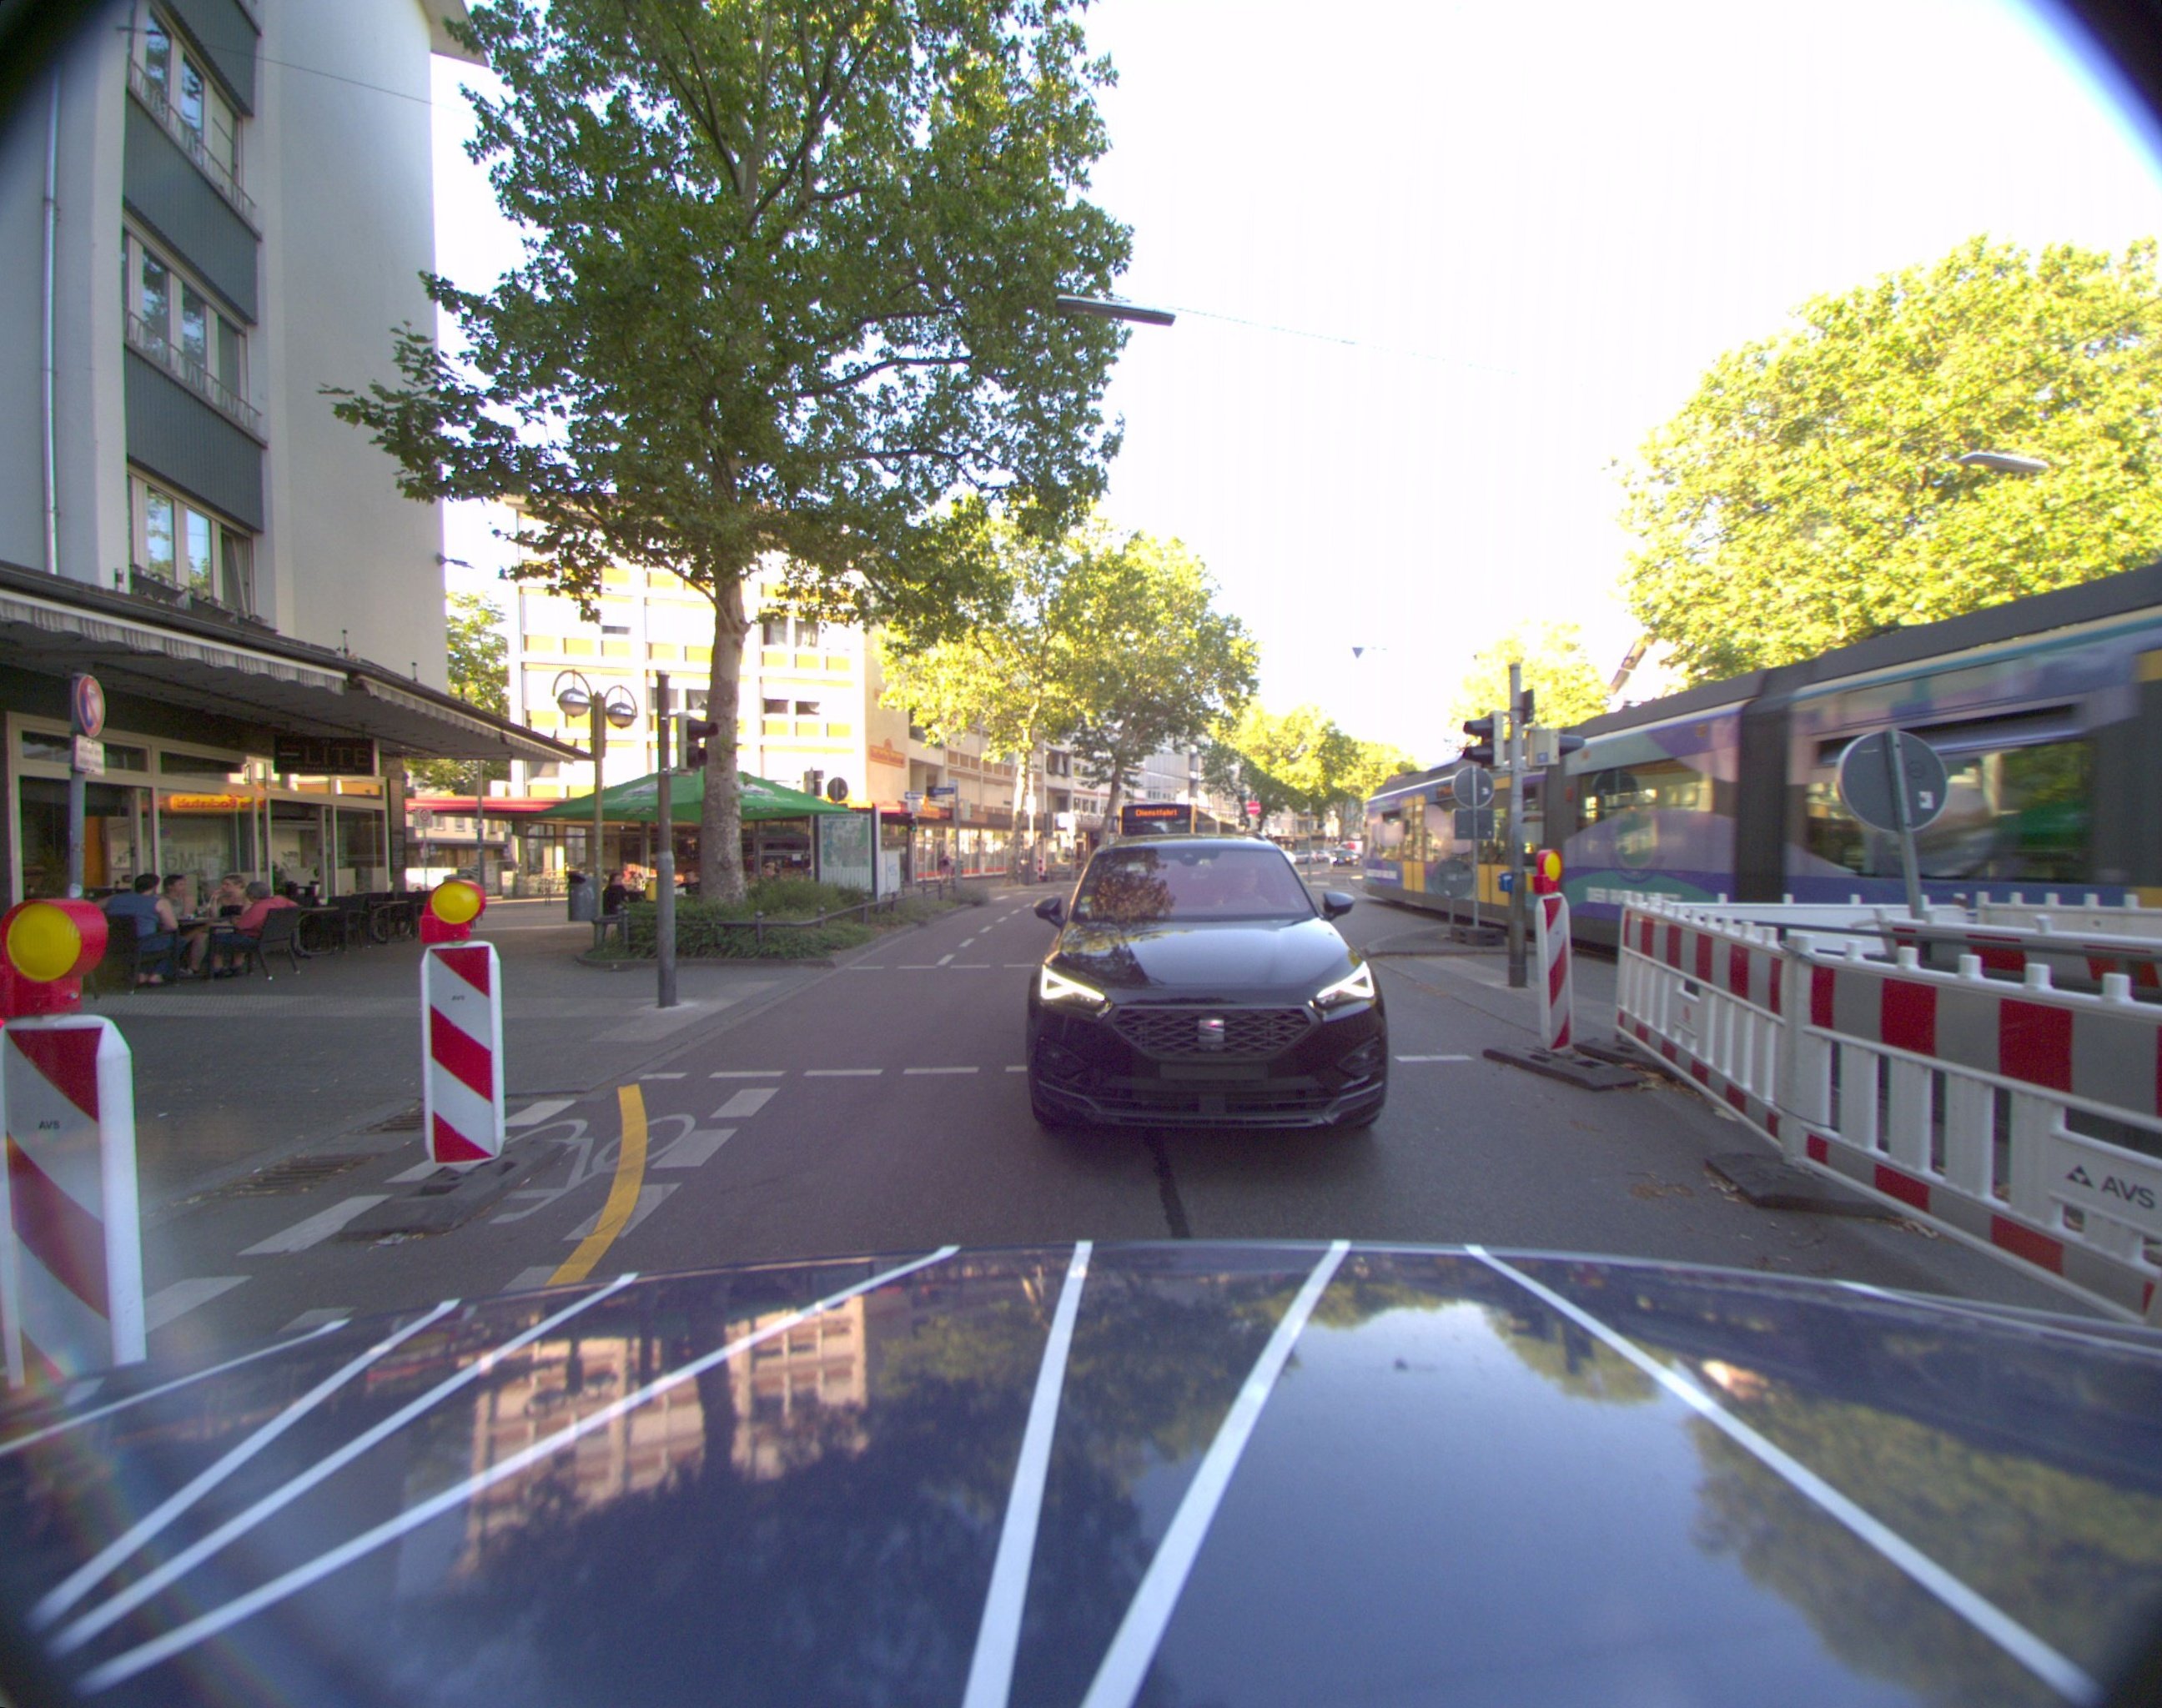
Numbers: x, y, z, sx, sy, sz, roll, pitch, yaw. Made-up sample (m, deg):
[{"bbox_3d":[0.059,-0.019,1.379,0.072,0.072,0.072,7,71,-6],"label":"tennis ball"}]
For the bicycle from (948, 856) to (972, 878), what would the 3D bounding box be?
[{"bbox_3d":[-6.675,0.699,42.046,0.528,1.136,1.976,-1,1,15],"label":"bicycle"}]

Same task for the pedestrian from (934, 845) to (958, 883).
[{"bbox_3d":[-6.289,0.451,35.500,0.748,1.747,0.903,0,1,17],"label":"pedestrian"}]

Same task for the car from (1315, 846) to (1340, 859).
[{"bbox_3d":[29.783,-0.161,91.868,2.627,1.464,1.201,-1,2,3],"label":"car"}]

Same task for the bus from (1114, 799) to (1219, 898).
[{"bbox_3d":[3.507,-0.224,28.568,2.750,3.085,9.506,0,1,14],"label":"bus"}]

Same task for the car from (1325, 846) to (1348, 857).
[{"bbox_3d":[32.893,-0.307,97.741,2.627,1.274,1.201,-1,2,3],"label":"car"}]

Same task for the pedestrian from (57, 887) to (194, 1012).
[{"bbox_3d":[-10.224,0.984,8.162,0.651,1.244,0.716,0,0,-24],"label":"pedestrian"}]

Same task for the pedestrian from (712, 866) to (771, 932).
[{"bbox_3d":[-6.813,0.889,15.274,0.718,1.278,0.769,-1,1,14],"label":"pedestrian"}]

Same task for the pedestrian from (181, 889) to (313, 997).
[{"bbox_3d":[-9.851,1.019,9.013,0.847,1.191,0.649,1,0,-22],"label":"pedestrian"}]

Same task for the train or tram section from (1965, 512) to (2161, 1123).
[{"bbox_3d":[7.771,-0.189,0.145,2.843,3.467,10.334,-1,1,-3],"label":"train or tram section"}]

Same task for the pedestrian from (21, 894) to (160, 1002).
[{"bbox_3d":[-11.090,1.026,8.537,0.718,1.123,0.649,1,0,-24],"label":"pedestrian"}]

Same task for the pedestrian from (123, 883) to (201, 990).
[{"bbox_3d":[-11.247,0.986,9.305,0.519,1.236,0.553,0,0,34],"label":"pedestrian"}]

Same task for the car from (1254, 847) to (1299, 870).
[{"bbox_3d":[14.668,0.332,56.732,1.952,1.541,4.765,0,2,31],"label":"car"}]

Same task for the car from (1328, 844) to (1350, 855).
[{"bbox_3d":[35.453,-0.608,104.237,2.627,1.380,1.201,-1,2,3],"label":"car"}]

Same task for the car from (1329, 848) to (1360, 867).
[{"bbox_3d":[22.793,0.275,65.662,1.952,1.467,4.764,0,2,26],"label":"car"}]

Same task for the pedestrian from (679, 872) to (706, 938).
[{"bbox_3d":[-7.416,0.961,14.497,0.433,1.212,0.467,1,1,-29],"label":"pedestrian"}]

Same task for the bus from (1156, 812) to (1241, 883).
[{"bbox_3d":[6.058,-0.336,37.743,2.749,3.085,9.508,0,1,17],"label":"bus"}]

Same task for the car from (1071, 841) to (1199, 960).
[{"bbox_3d":[0.965,0.643,12.800,1.743,1.630,4.300,-2,0,6],"label":"car"}]

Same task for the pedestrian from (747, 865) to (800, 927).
[{"bbox_3d":[-6.546,0.886,16.198,0.718,1.278,0.769,-1,1,13],"label":"pedestrian"}]

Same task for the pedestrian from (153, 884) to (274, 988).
[{"bbox_3d":[-10.697,0.986,9.393,0.666,1.211,0.717,0,0,-5],"label":"pedestrian"}]

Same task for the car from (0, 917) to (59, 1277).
[{"bbox_3d":[-5.153,0.992,1.439,1.623,1.457,3.604,2,0,-2],"label":"car"}]

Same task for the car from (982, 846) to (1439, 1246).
[{"bbox_3d":[0.680,0.803,5.325,1.848,1.648,4.300,-2,0,4],"label":"car"}]

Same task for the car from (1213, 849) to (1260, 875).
[{"bbox_3d":[9.640,0.455,46.743,1.908,1.467,4.424,0,1,24],"label":"car"}]

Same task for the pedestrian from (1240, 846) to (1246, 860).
[{"bbox_3d":[18.498,-0.140,86.746,0.516,1.647,0.571,0,1,28],"label":"pedestrian"}]

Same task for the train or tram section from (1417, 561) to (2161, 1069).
[{"bbox_3d":[8.016,-0.316,10.326,2.877,3.467,10.340,-1,1,3],"label":"train or tram section"}]

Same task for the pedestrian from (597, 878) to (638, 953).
[{"bbox_3d":[-7.785,1.011,12.762,0.469,1.212,0.431,-2,1,-44],"label":"pedestrian"}]

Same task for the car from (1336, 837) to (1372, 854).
[{"bbox_3d":[40.627,-1.313,113.132,4.868,2.362,1.878,-1,2,-10],"label":"car"}]

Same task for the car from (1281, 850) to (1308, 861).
[{"bbox_3d":[23.915,0.146,85.038,2.629,1.209,1.200,-1,2,-6],"label":"car"}]

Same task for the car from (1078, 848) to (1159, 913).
[{"bbox_3d":[1.097,0.625,20.164,1.743,1.492,4.301,-2,0,7],"label":"car"}]

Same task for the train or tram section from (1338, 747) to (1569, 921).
[{"bbox_3d":[9.257,-0.439,20.519,2.840,3.467,10.345,-1,1,10],"label":"train or tram section"}]
